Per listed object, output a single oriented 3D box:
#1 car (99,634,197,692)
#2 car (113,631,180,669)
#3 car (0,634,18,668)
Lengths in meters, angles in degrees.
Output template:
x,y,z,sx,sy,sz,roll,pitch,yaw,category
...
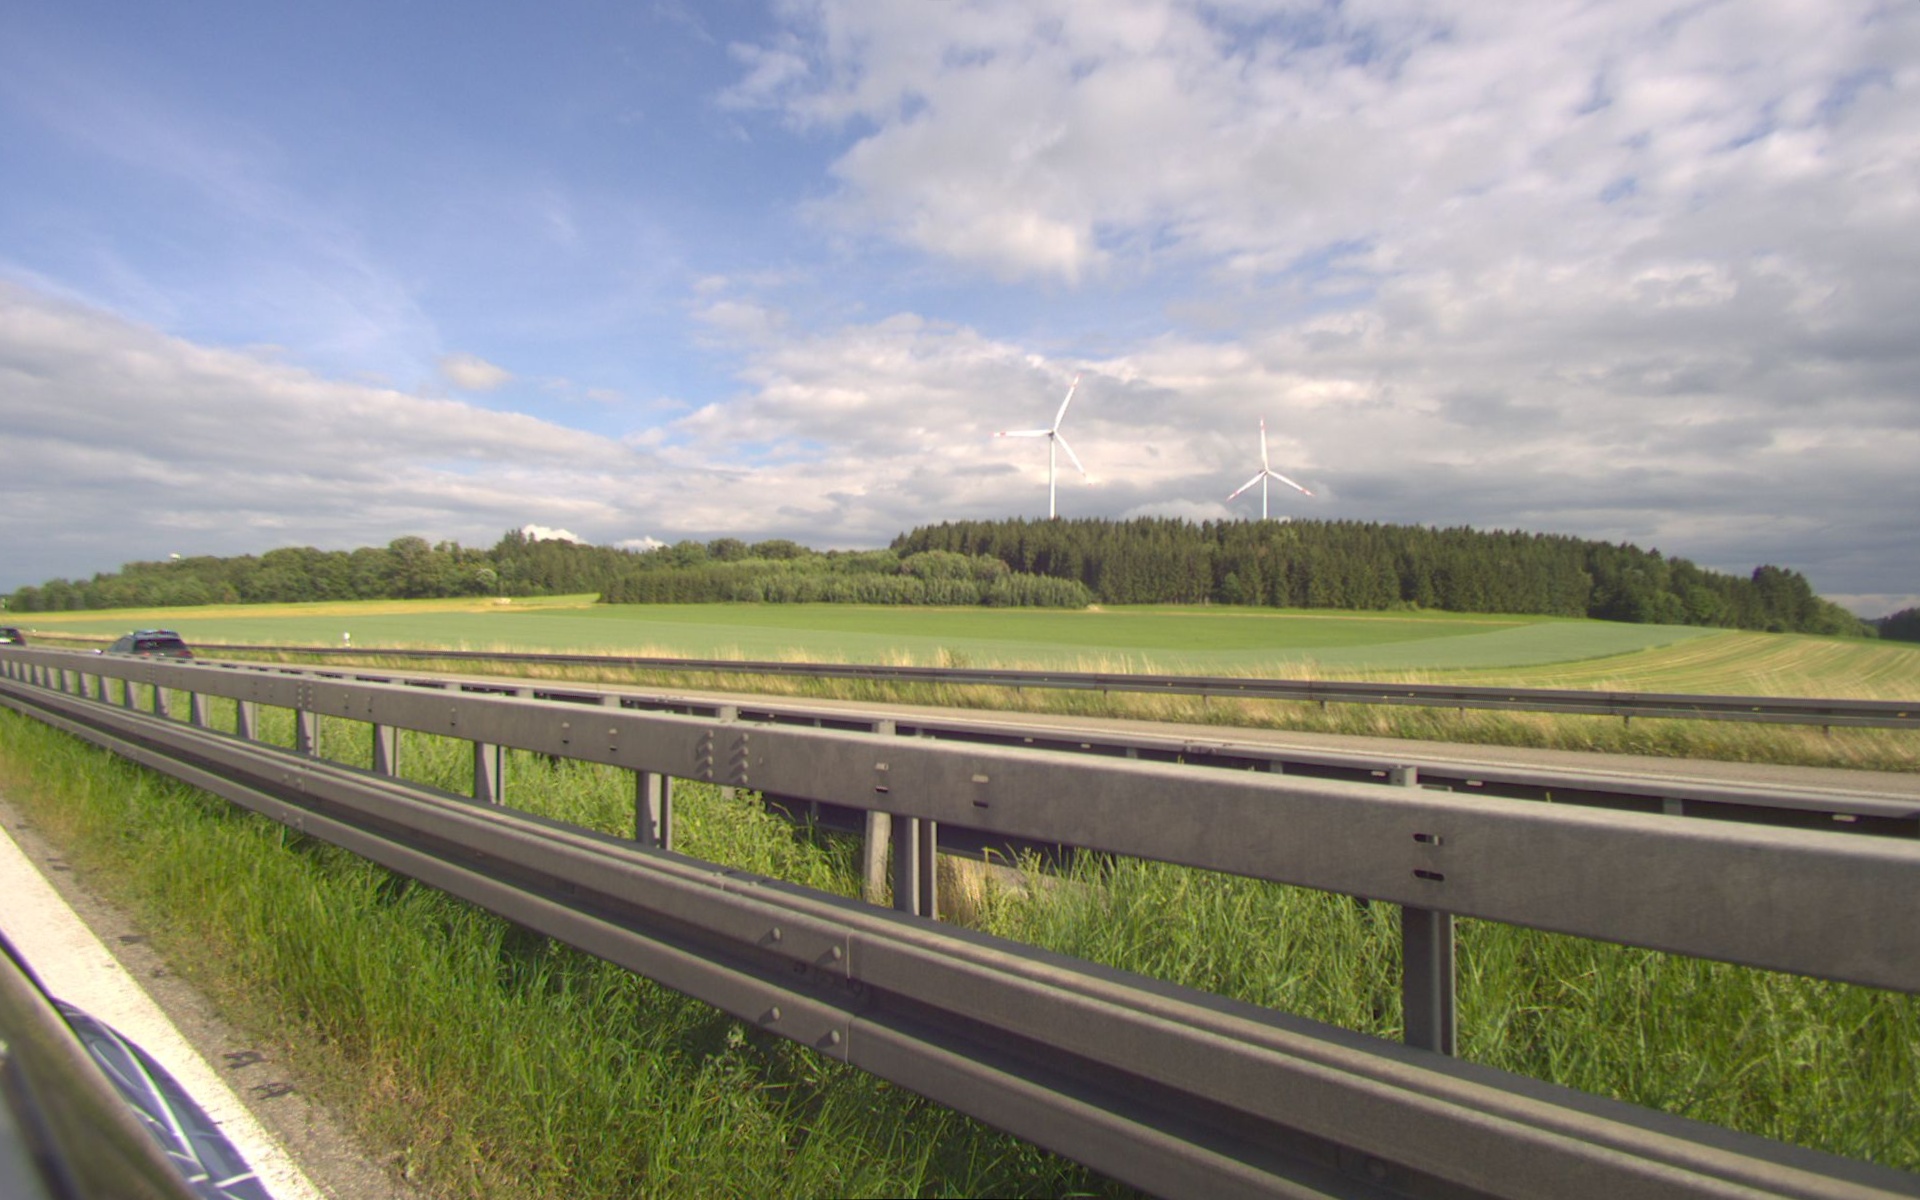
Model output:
x,y,z,sx,sy,sz,roll,pitch,yaw,category
-24.119,1.807,30.015,4.157,1.526,1.581,-1,-1,41,car
-37.408,2.278,46.509,4.115,1.600,1.716,-1,-1,41,car
-53.462,2.823,55.805,4.361,1.783,1.804,-1,-1,41,car
